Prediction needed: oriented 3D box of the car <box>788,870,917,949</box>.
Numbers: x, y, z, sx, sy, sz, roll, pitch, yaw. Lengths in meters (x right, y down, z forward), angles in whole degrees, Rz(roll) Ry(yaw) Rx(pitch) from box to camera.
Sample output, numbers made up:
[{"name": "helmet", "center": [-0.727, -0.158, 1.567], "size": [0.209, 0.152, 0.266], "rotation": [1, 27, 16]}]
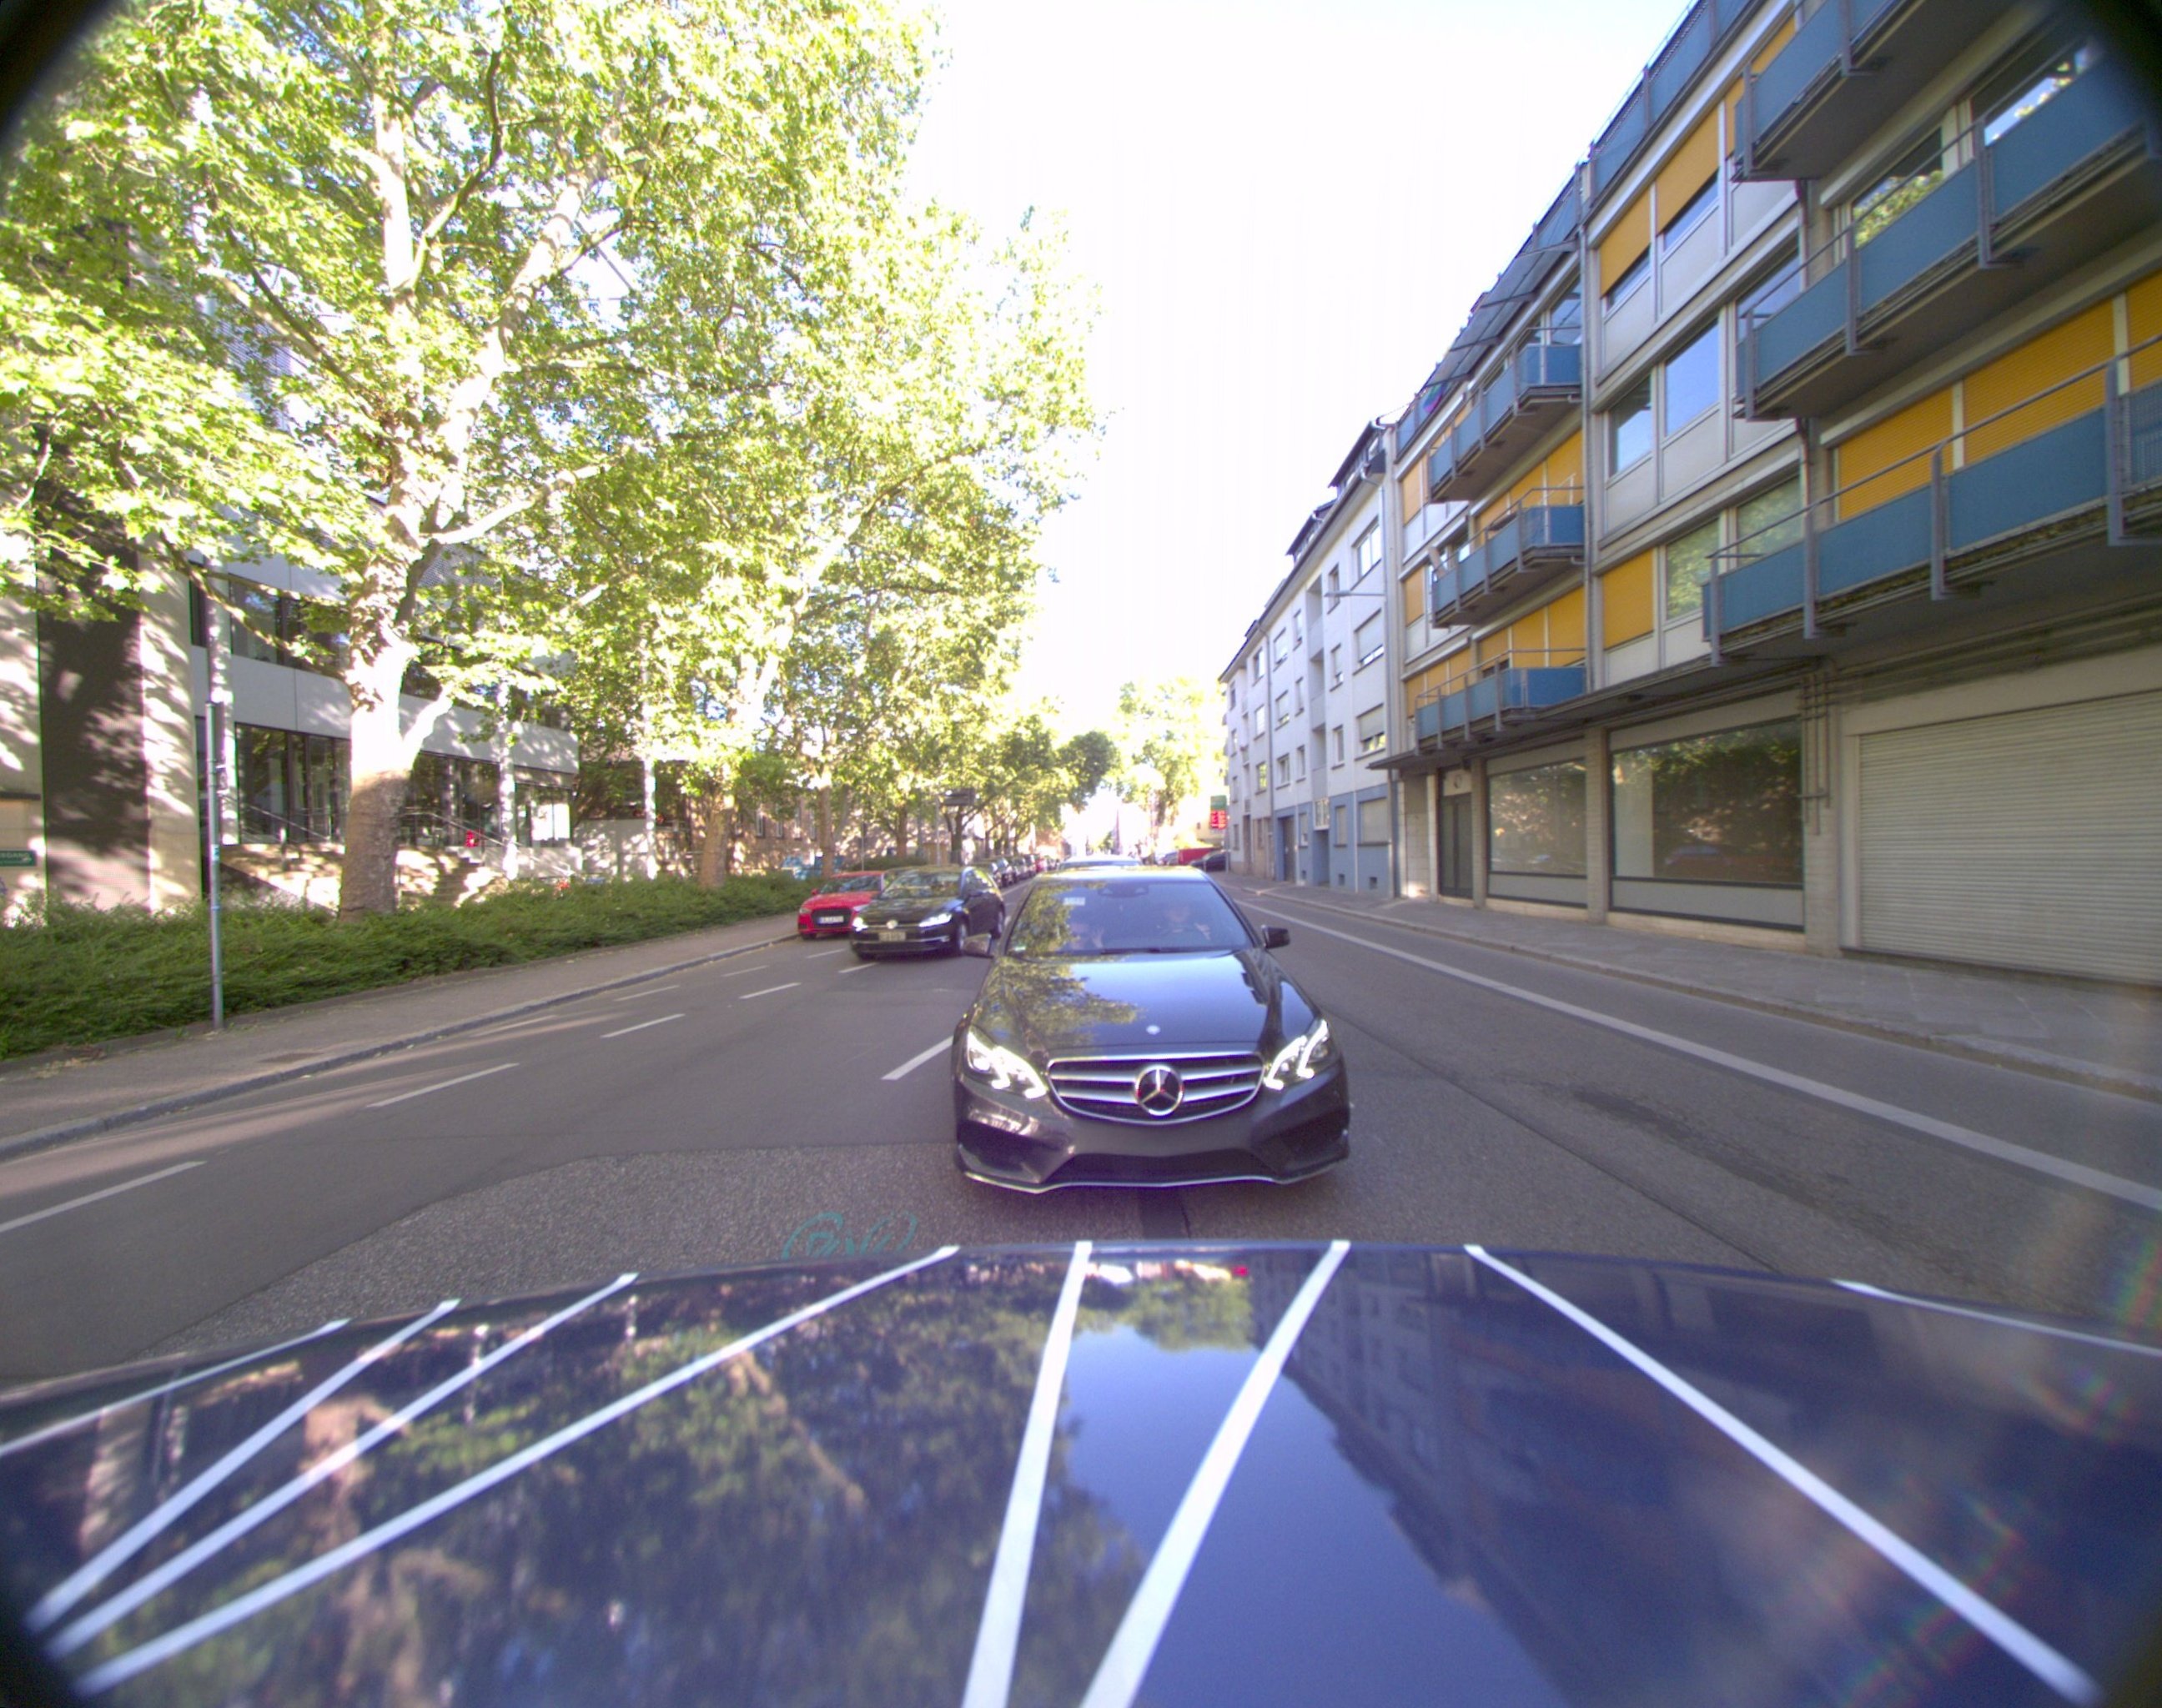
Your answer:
[{"name": "car", "center": [-5.132, 1.187, 17.657], "size": [1.724, 1.412, 4.030], "rotation": [-4, 0, -1]}]

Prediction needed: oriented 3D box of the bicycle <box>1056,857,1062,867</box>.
[{"name": "bicycle", "center": [-2.560, 0.940, 89.582], "size": [0.667, 1.093, 1.814], "rotation": [-2, 1, 0]}]

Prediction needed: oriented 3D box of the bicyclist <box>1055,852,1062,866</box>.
[{"name": "bicyclist", "center": [-2.594, 0.581, 89.544], "size": [0.756, 1.512, 0.768], "rotation": [-2, 1, -1]}]

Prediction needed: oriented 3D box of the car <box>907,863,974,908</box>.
[{"name": "car", "center": [-5.010, 1.091, 27.600], "size": [1.666, 1.426, 3.781], "rotation": [-2, 0, 0]}]

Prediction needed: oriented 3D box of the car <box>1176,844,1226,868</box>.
[{"name": "car", "center": [10.072, 0.161, 63.976], "size": [3.905, 1.895, 1.749], "rotation": [-2, 1, 2]}]

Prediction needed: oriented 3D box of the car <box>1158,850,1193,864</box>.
[{"name": "car", "center": [10.538, 0.327, 84.812], "size": [3.782, 1.432, 1.539], "rotation": [-2, 1, 2]}]

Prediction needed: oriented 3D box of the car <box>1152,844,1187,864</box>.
[{"name": "car", "center": [10.398, 0.018, 89.305], "size": [3.905, 2.164, 1.725], "rotation": [-2, 1, 2]}]

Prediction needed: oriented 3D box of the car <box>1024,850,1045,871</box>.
[{"name": "car", "center": [-4.254, 0.584, 70.223], "size": [1.646, 1.839, 3.836], "rotation": [-2, 0, 0]}]

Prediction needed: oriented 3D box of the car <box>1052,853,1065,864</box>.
[{"name": "car", "center": [-3.132, 0.642, 106.825], "size": [1.686, 1.475, 3.836], "rotation": [-2, 0, 0]}]

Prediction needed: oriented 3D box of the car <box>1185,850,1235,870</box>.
[{"name": "car", "center": [9.958, 0.453, 58.727], "size": [3.598, 1.401, 1.534], "rotation": [-2, 0, 2]}]

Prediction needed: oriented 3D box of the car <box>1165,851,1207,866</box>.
[{"name": "car", "center": [10.370, 0.447, 74.963], "size": [3.905, 1.366, 1.594], "rotation": [-2, 1, 2]}]

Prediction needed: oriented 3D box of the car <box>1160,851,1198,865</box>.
[{"name": "car", "center": [10.527, 0.395, 82.127], "size": [3.905, 1.325, 1.525], "rotation": [-2, 1, 2]}]

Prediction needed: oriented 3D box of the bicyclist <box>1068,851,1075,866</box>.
[{"name": "bicyclist", "center": [-1.148, 0.517, 90.481], "size": [0.756, 1.714, 0.768], "rotation": [-2, 1, -1]}]

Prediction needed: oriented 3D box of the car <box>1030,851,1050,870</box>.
[{"name": "car", "center": [-4.101, 0.630, 76.014], "size": [1.686, 1.749, 3.836], "rotation": [-2, 0, 0]}]

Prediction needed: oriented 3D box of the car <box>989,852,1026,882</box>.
[{"name": "car", "center": [-4.596, 0.768, 48.186], "size": [1.819, 1.758, 4.431], "rotation": [-2, 0, 0]}]

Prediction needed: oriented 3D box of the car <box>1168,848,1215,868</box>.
[{"name": "car", "center": [9.713, 0.326, 66.771], "size": [3.905, 1.577, 1.603], "rotation": [-2, 1, 2]}]

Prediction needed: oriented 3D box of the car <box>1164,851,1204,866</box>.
[{"name": "car", "center": [10.401, 0.423, 76.984], "size": [3.905, 1.366, 1.594], "rotation": [-2, 1, 2]}]

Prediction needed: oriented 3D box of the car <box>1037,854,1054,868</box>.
[{"name": "car", "center": [-4.055, 0.739, 87.059], "size": [1.639, 1.493, 3.752], "rotation": [-2, 0, 0]}]

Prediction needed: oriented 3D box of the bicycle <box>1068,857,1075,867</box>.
[{"name": "bicycle", "center": [-1.130, 0.912, 90.437], "size": [0.667, 1.093, 1.814], "rotation": [-2, 1, 0]}]

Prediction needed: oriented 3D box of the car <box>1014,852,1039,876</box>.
[{"name": "car", "center": [-4.219, 0.748, 59.365], "size": [1.663, 1.704, 3.836], "rotation": [-2, 0, 0]}]

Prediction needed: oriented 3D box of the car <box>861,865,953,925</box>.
[{"name": "car", "center": [-5.013, 1.126, 22.415], "size": [1.686, 1.458, 4.000], "rotation": [-3, 0, 0]}]

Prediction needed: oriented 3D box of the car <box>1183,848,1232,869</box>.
[{"name": "car", "center": [10.127, 0.352, 61.132], "size": [3.668, 1.501, 1.602], "rotation": [-2, 1, 2]}]

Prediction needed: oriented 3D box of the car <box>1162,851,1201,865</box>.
[{"name": "car", "center": [10.517, 0.422, 79.739], "size": [3.905, 1.325, 1.525], "rotation": [-2, 1, 2]}]

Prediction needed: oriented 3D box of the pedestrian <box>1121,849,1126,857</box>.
[{"name": "pedestrian", "center": [11.374, -0.355, 203.656], "size": [0.882, 2.108, 0.822], "rotation": [-1, 1, 32]}]

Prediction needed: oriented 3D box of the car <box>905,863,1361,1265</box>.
[{"name": "car", "center": [0.212, 0.894, 5.280], "size": [1.828, 1.495, 4.293], "rotation": [-2, 1, 0]}]

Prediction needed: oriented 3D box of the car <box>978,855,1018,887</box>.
[{"name": "car", "center": [-4.539, 0.904, 42.060], "size": [1.686, 1.610, 3.836], "rotation": [-2, 0, 0]}]

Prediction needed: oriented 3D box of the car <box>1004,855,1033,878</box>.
[{"name": "car", "center": [-4.427, 0.871, 54.509], "size": [1.686, 1.552, 3.868], "rotation": [-2, 0, 0]}]

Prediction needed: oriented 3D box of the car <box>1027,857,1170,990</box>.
[{"name": "car", "center": [0.205, 0.879, 11.655], "size": [1.732, 1.538, 4.293], "rotation": [-2, 1, 0]}]

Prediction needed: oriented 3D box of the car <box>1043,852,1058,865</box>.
[{"name": "car", "center": [-3.794, 0.590, 95.682], "size": [1.686, 1.546, 3.836], "rotation": [-2, 0, 0]}]

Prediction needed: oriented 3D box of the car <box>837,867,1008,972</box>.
[{"name": "car", "center": [-2.576, 1.016, 13.335], "size": [1.693, 1.432, 3.904], "rotation": [-2, 0, 7]}]

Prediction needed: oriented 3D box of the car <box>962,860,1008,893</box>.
[{"name": "car", "center": [-4.667, 1.044, 37.401], "size": [1.686, 1.443, 4.000], "rotation": [-2, 0, 0]}]
